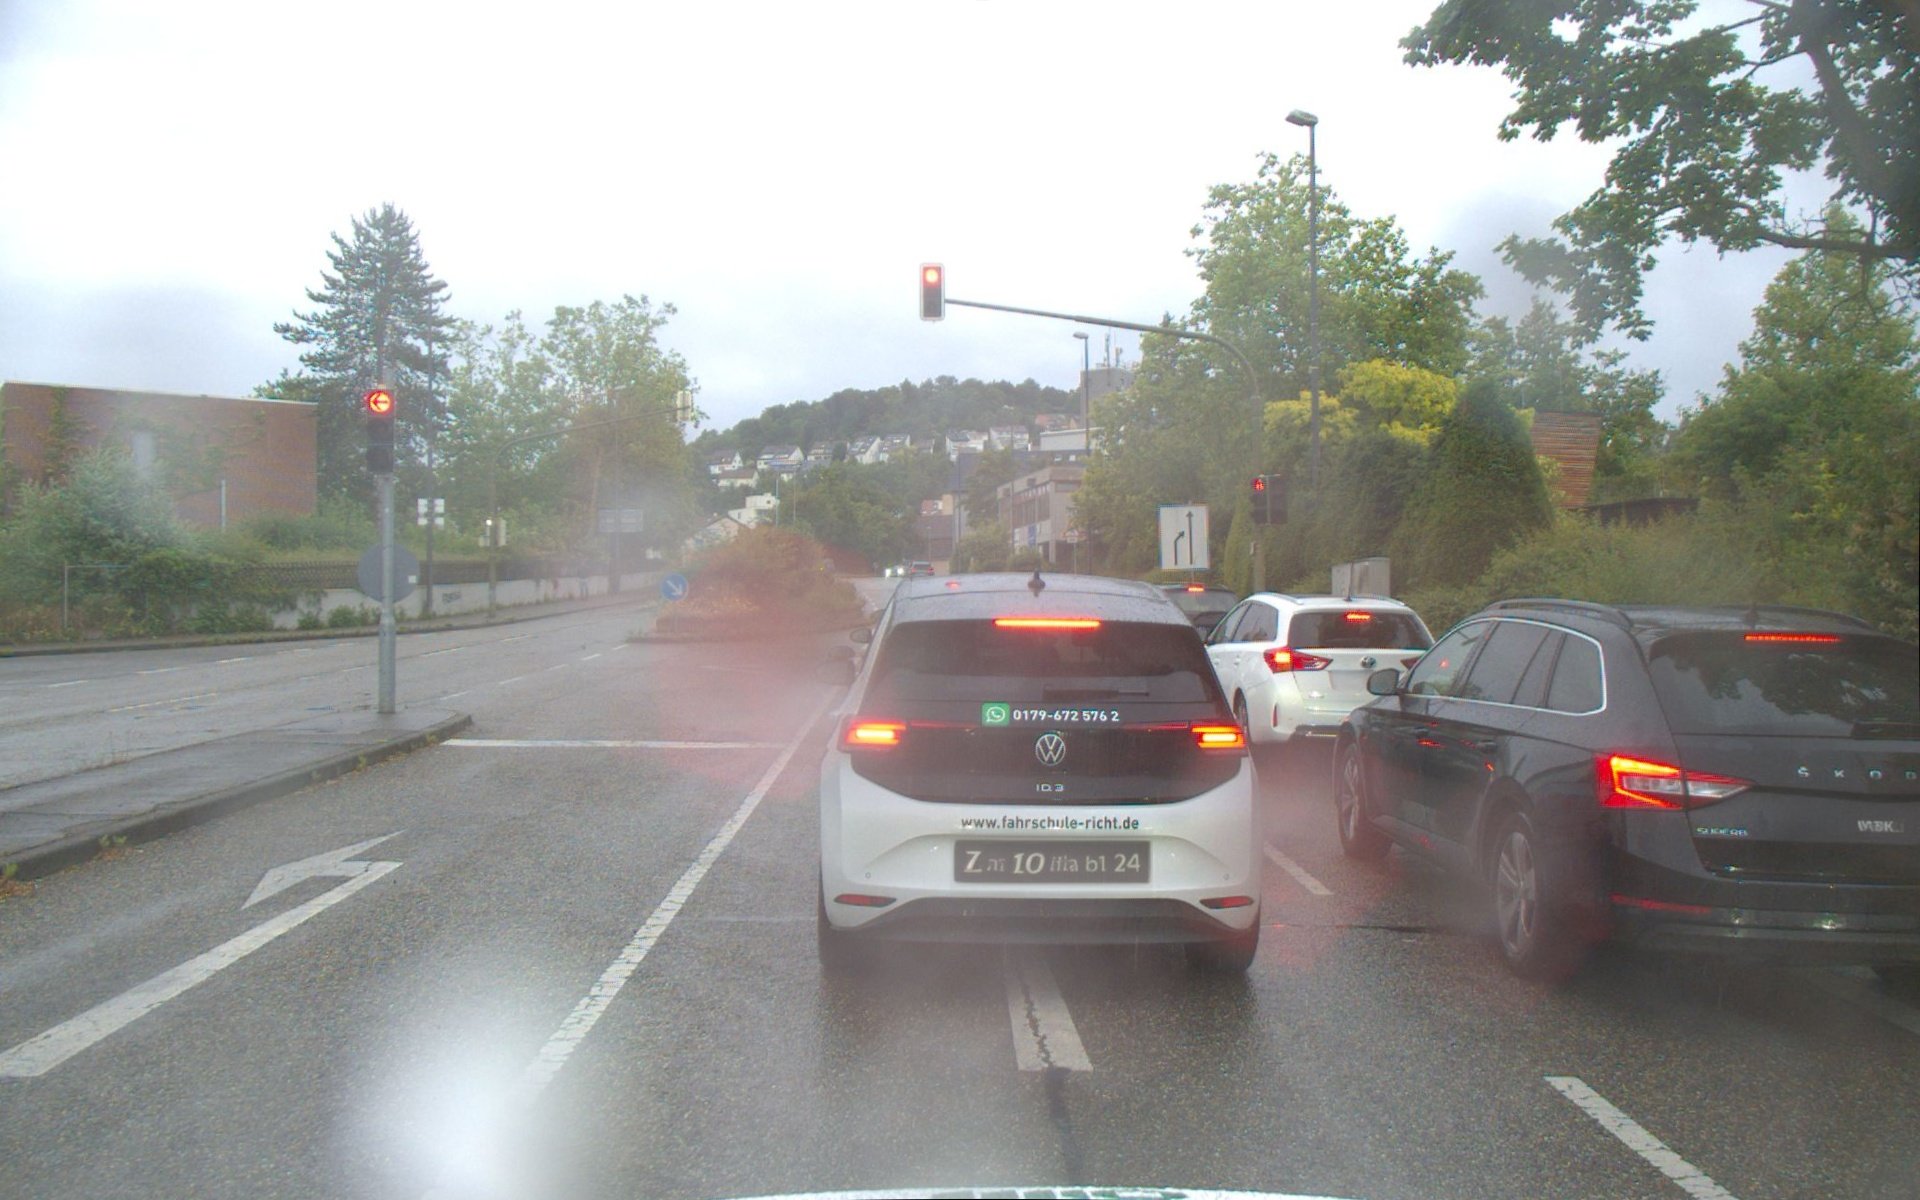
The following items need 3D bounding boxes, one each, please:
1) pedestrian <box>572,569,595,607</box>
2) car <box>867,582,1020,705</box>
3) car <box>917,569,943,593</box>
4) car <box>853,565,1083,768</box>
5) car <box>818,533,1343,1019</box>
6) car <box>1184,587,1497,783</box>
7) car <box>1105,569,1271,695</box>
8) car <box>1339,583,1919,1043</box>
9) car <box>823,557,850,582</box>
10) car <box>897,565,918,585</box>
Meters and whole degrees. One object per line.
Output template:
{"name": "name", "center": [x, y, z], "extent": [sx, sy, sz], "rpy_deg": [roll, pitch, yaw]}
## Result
{"name": "pedestrian", "center": [-16.003, -0.501, 70.327], "extent": [0.744, 1.595, 0.825], "rpy_deg": [-2, 0, -2]}
{"name": "car", "center": [-0.239, 0.498, 21.749], "extent": [1.800, 1.424, 3.830], "rpy_deg": [1, 1, -1]}
{"name": "car", "center": [-2.130, -1.341, 117.046], "extent": [1.739, 1.609, 3.999], "rpy_deg": [-2, 0, -1]}
{"name": "car", "center": [0.017, 0.504, 15.301], "extent": [1.800, 1.582, 4.174], "rpy_deg": [1, 1, -1]}
{"name": "car", "center": [0.371, 0.590, 8.079], "extent": [1.800, 1.657, 4.614], "rpy_deg": [1, 1, -1]}
{"name": "car", "center": [3.287, 0.657, 15.125], "extent": [1.800, 1.492, 4.116], "rpy_deg": [1, 1, -1]}
{"name": "car", "center": [3.150, 0.415, 23.548], "extent": [1.739, 1.609, 3.999], "rpy_deg": [1, 0, -1]}
{"name": "car", "center": [3.149, 0.697, 7.659], "extent": [1.800, 1.492, 4.350], "rpy_deg": [1, 1, 1]}
{"name": "car", "center": [-10.477, -2.578, 140.396], "extent": [1.953, 2.049, 3.999], "rpy_deg": [1, -1, -1]}
{"name": "car", "center": [-4.630, -2.224, 147.104], "extent": [1.739, 1.609, 3.999], "rpy_deg": [-2, 0, -1]}
